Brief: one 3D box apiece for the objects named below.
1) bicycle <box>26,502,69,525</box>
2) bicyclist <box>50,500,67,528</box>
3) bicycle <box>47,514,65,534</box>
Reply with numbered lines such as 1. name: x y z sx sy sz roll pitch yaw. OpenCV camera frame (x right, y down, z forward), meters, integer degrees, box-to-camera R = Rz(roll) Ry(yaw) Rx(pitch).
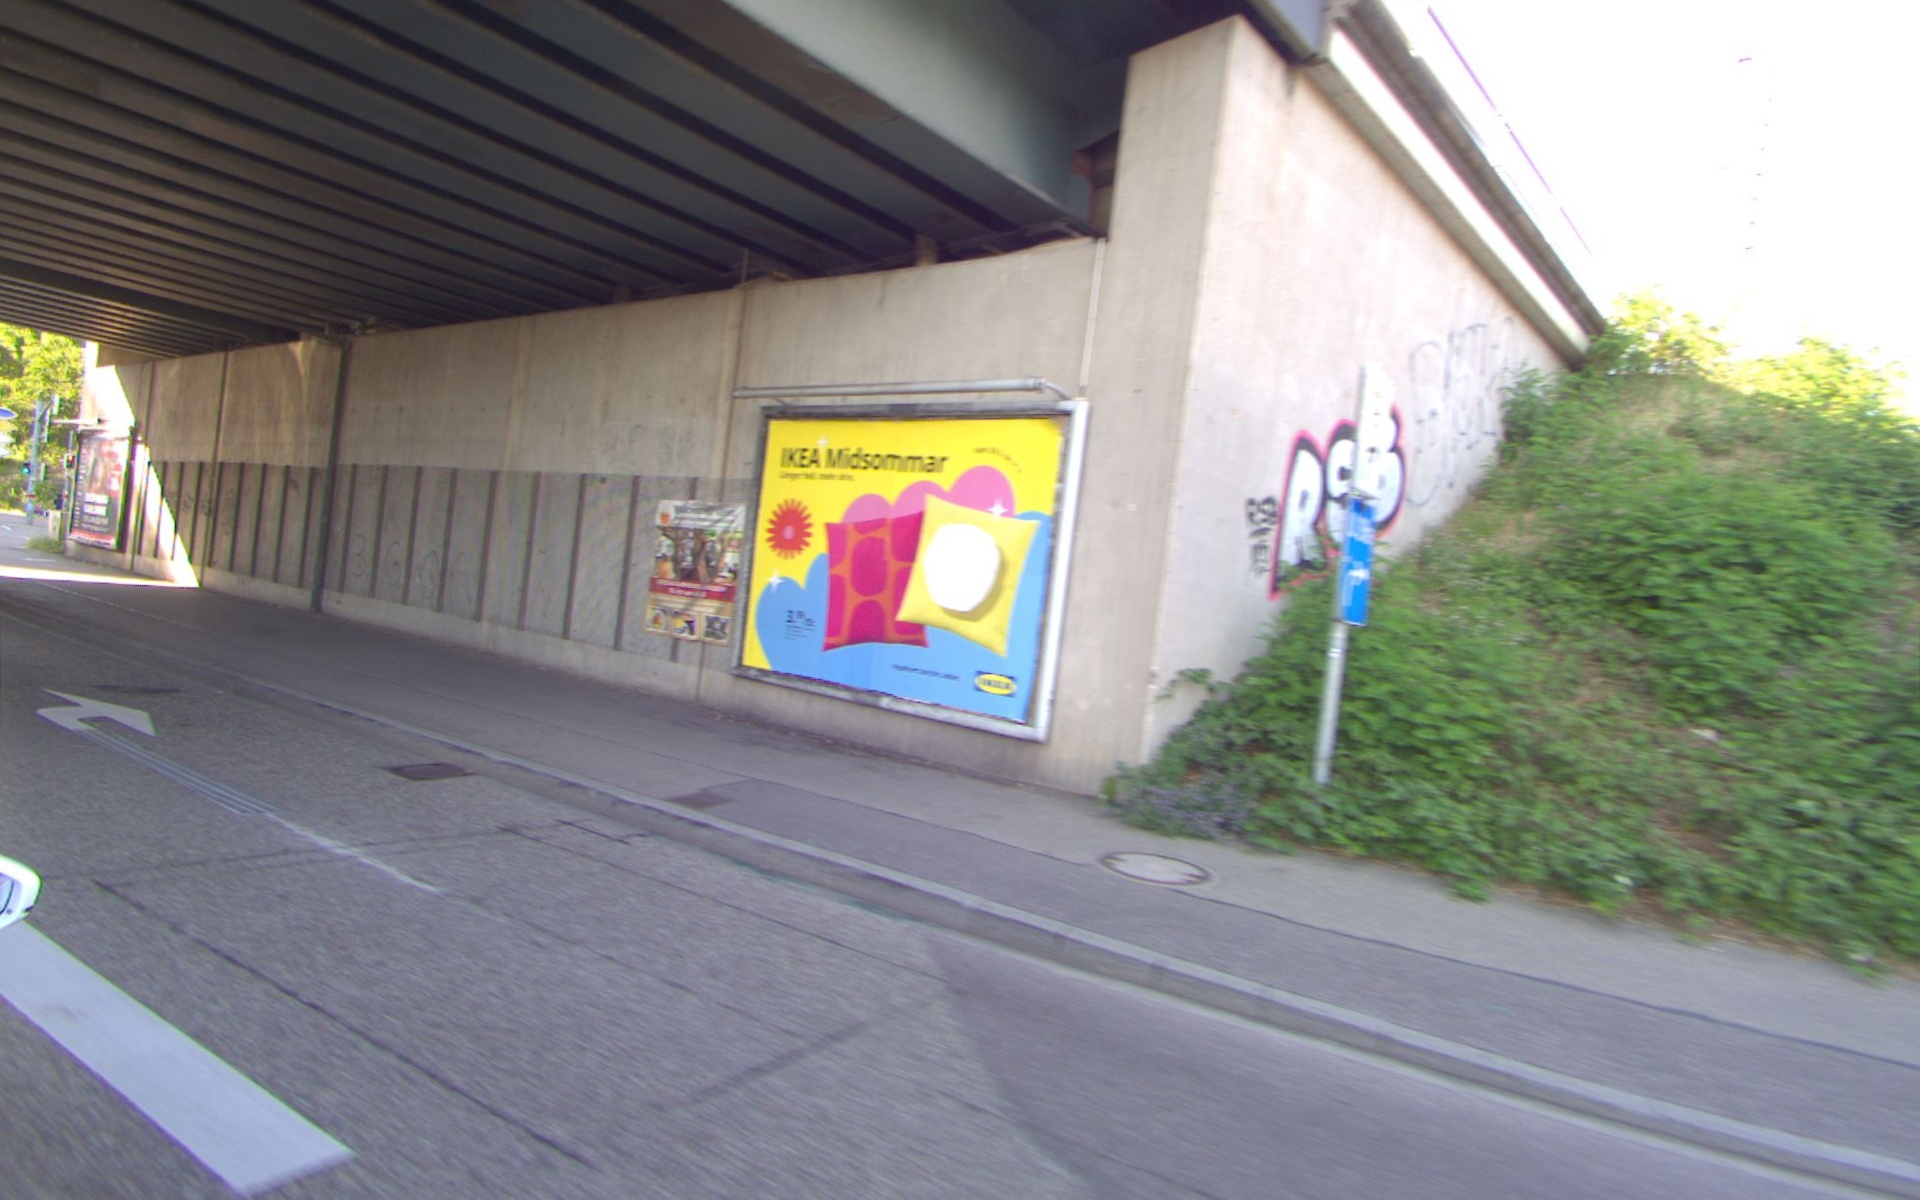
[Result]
1. bicycle: -50.497 -4.781 55.694 1.653 1.004 0.572 7 3 -37
2. bicyclist: -45.406 -4.340 50.647 0.453 1.324 0.427 6 -1 37
3. bicycle: -45.540 -3.823 50.679 1.011 0.925 0.437 6 -2 38
